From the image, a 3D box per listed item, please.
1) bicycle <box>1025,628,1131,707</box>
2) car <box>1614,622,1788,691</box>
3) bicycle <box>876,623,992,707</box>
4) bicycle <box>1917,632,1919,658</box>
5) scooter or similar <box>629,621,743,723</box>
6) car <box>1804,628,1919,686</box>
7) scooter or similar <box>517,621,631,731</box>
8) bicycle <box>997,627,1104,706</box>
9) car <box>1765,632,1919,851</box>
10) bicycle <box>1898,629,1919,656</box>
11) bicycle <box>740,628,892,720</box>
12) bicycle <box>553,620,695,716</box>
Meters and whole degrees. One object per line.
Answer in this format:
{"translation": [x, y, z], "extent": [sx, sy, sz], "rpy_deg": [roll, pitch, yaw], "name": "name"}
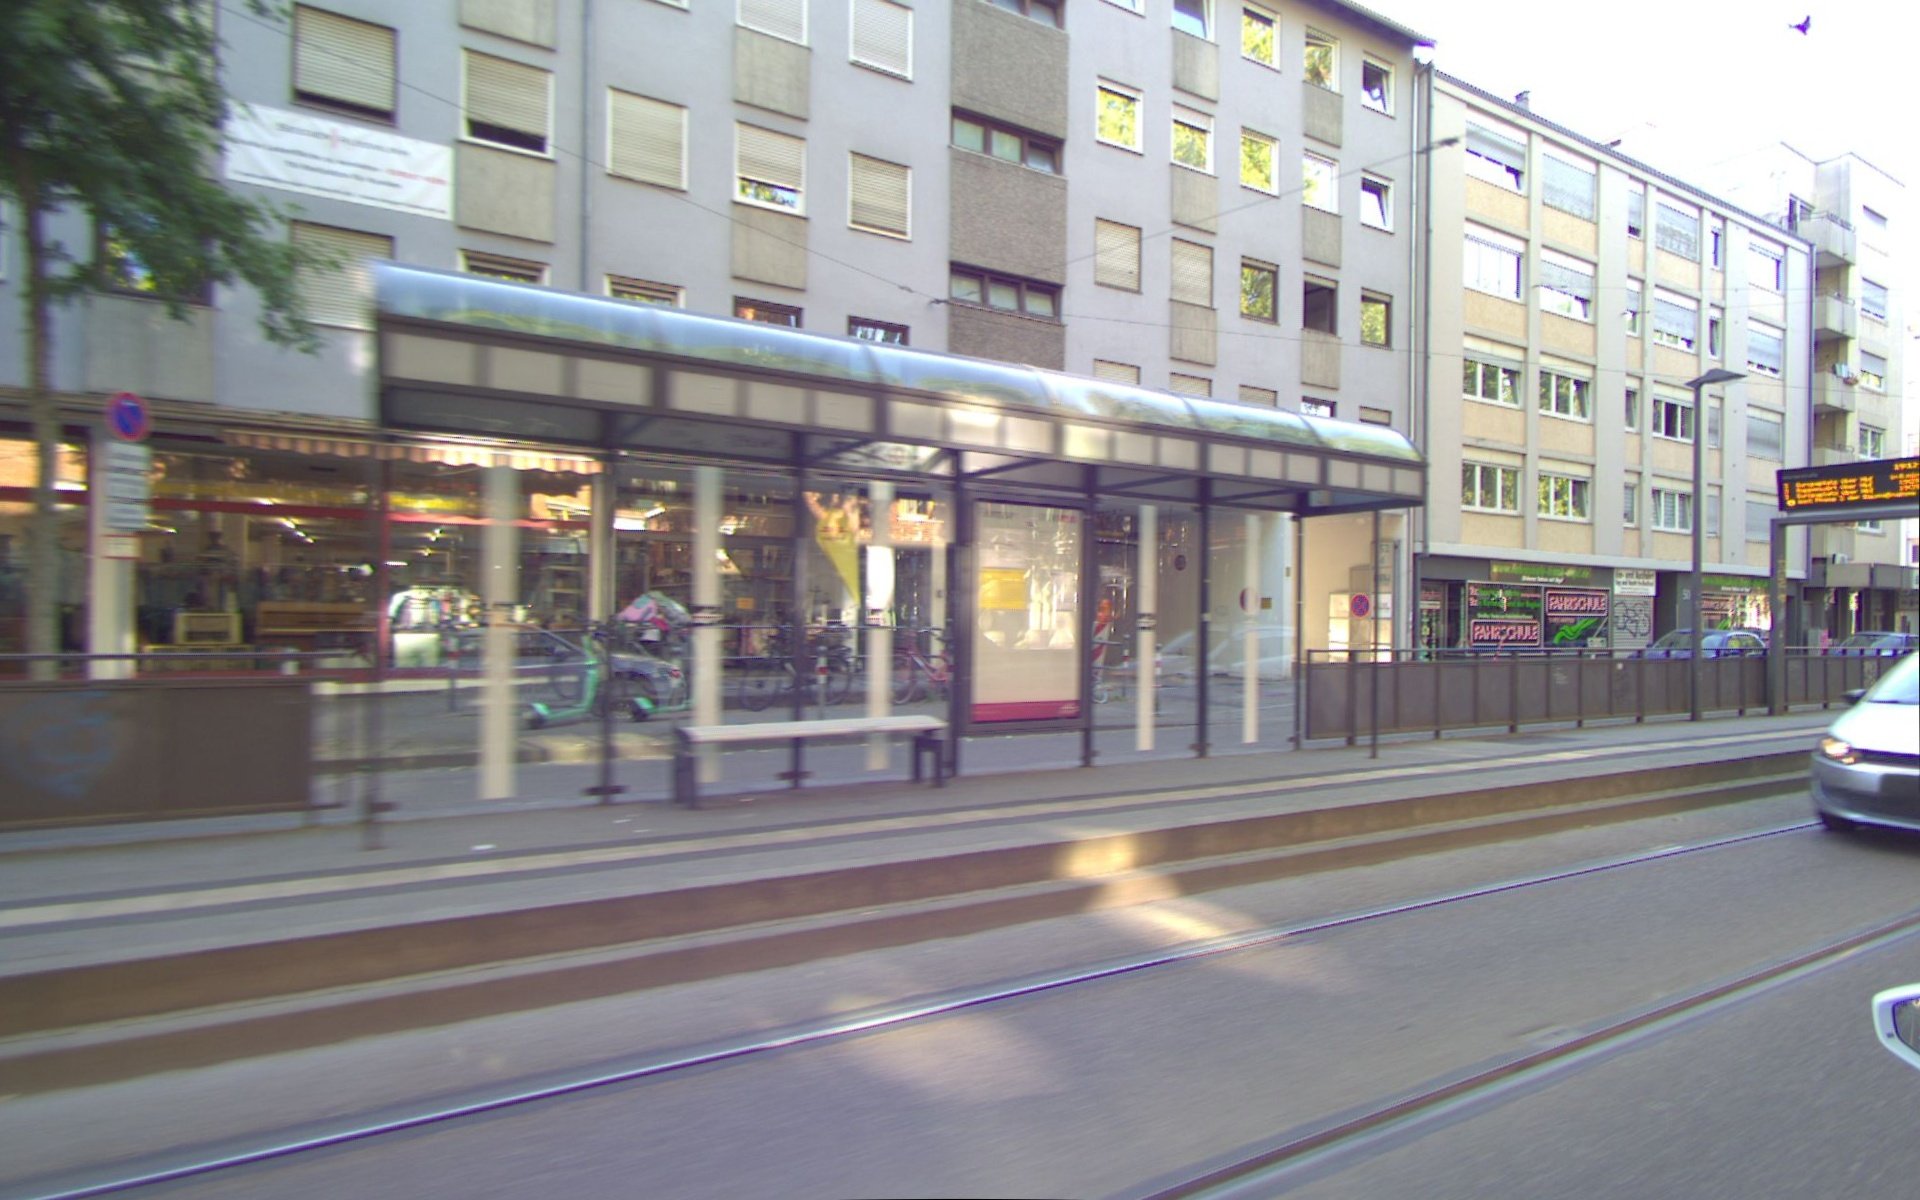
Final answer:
{"translation": [1.894, 1.033, 15.879], "extent": [0.553, 1.172, 2.018], "rpy_deg": [0, -1, 44], "name": "bicycle"}
{"translation": [17.392, 1.281, 23.538], "extent": [4.232, 1.483, 1.786], "rpy_deg": [1, -2, -30], "name": "car"}
{"translation": [-0.366, 0.932, 14.810], "extent": [1.735, 1.172, 0.489], "rpy_deg": [1, -1, -36], "name": "bicycle"}
{"translation": [43.384, 2.028, 44.373], "extent": [0.561, 1.172, 1.790], "rpy_deg": [1, -1, 1], "name": "bicycle"}
{"translation": [-3.351, 0.863, 12.315], "extent": [1.263, 1.190, 0.441], "rpy_deg": [1, -1, -36], "name": "scooter or similar"}
{"translation": [26.798, 1.615, 29.345], "extent": [4.337, 1.565, 1.947], "rpy_deg": [1, -2, -30], "name": "car"}
{"translation": [-4.402, 0.837, 11.528], "extent": [0.437, 1.190, 1.274], "rpy_deg": [0, -1, 23], "name": "scooter or similar"}
{"translation": [1.460, 1.018, 15.904], "extent": [0.553, 1.172, 2.018], "rpy_deg": [0, -1, 44], "name": "bicycle"}
{"translation": [8.099, 0.986, 7.690], "extent": [3.953, 1.445, 1.753], "rpy_deg": [1, -1, -30], "name": "car"}
{"translation": [42.578, 1.881, 44.186], "extent": [0.564, 1.172, 1.853], "rpy_deg": [1, -1, -25], "name": "bicycle"}
{"translation": [-1.935, 0.982, 13.710], "extent": [2.018, 1.172, 0.566], "rpy_deg": [1, -1, -36], "name": "bicycle"}
{"translation": [-4.303, 0.852, 12.885], "extent": [1.666, 1.172, 0.510], "rpy_deg": [1, -1, -28], "name": "bicycle"}
